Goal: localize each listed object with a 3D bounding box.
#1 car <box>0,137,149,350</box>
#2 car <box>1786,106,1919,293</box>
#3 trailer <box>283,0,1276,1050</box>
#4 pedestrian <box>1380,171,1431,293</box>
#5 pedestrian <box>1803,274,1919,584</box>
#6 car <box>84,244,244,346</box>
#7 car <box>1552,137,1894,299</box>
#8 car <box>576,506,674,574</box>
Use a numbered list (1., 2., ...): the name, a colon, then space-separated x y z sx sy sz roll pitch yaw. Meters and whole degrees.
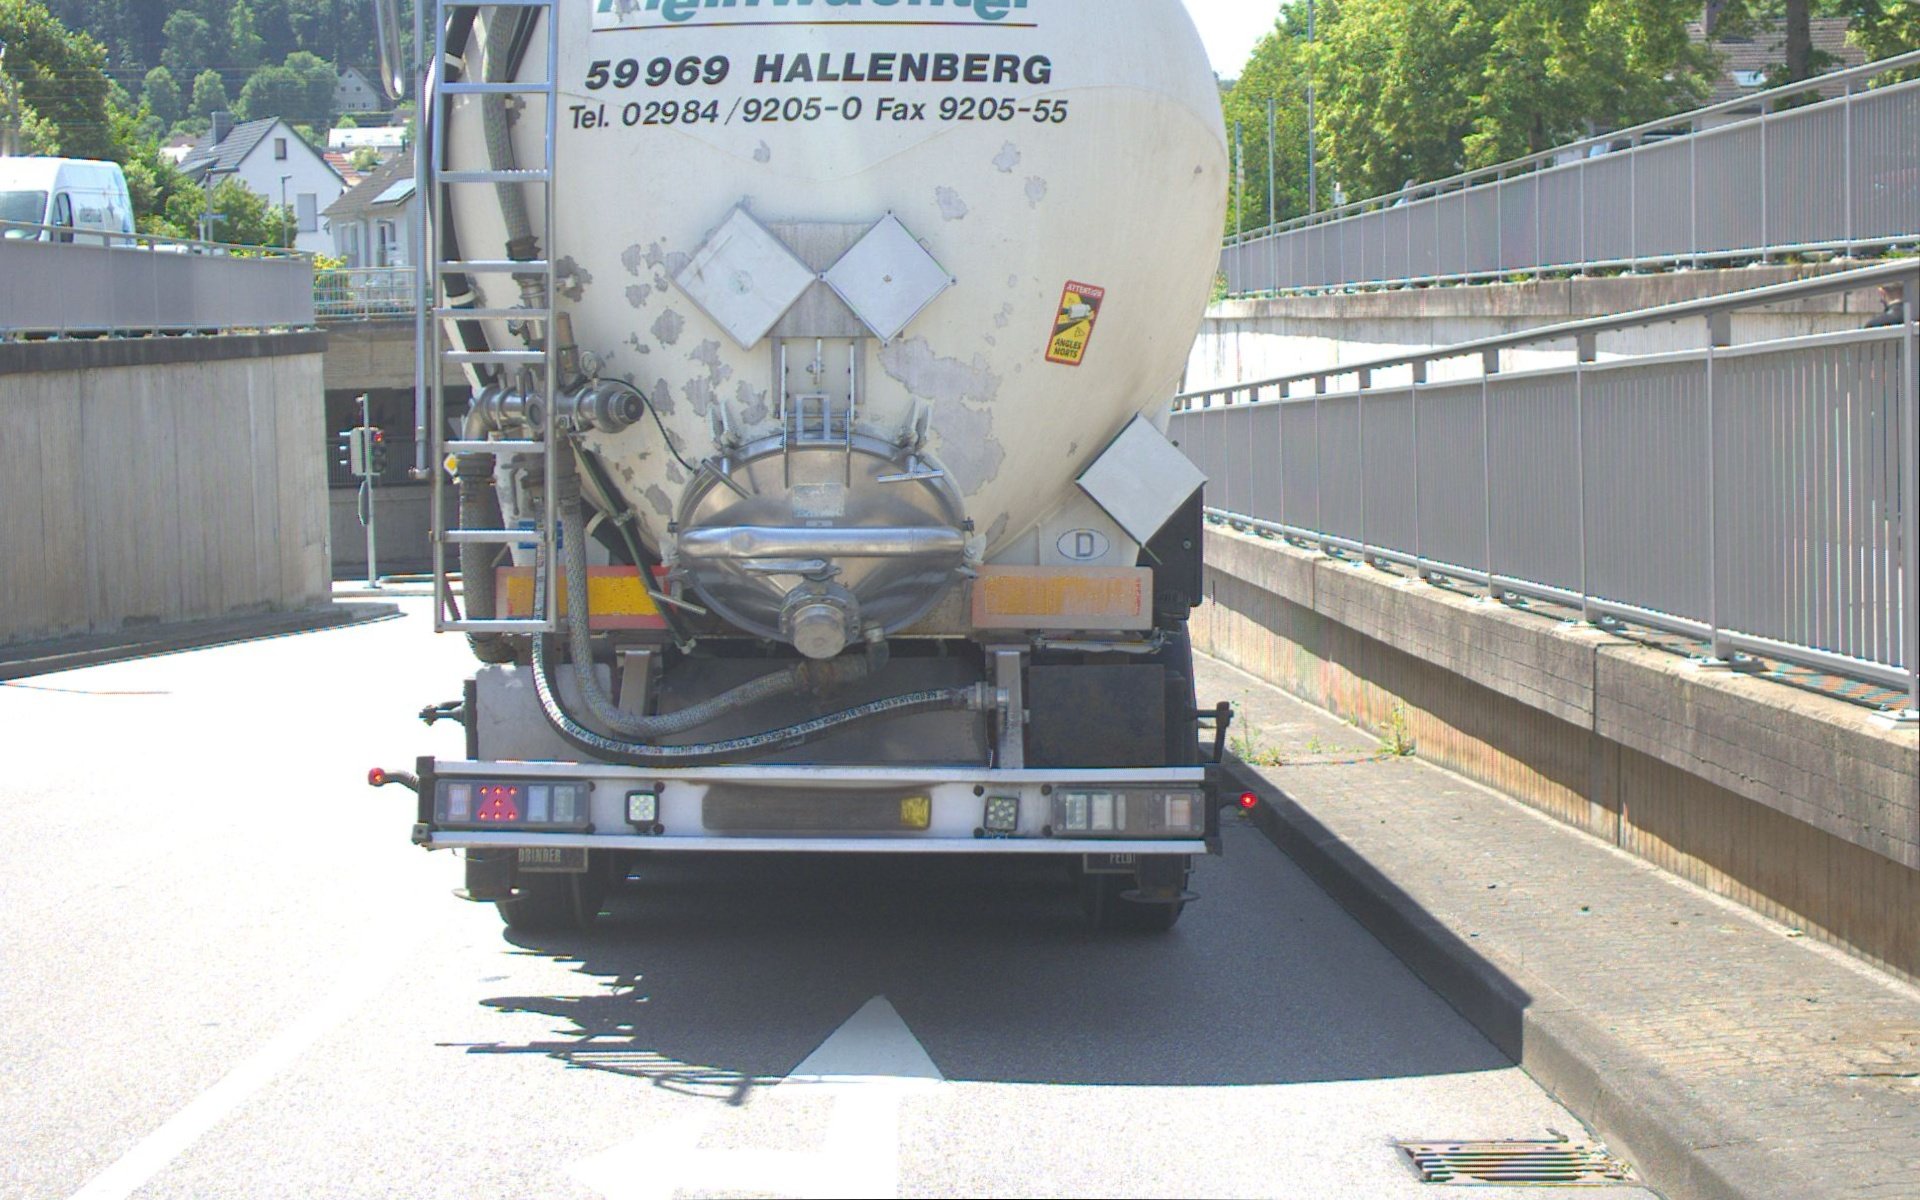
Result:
1. car: -12.044 -4.481 43.803 2.065 2.527 5.663 1 5 0
2. car: 9.736 -3.614 30.920 4.204 1.590 1.686 -1 4 1
3. trailer: -0.463 -0.927 16.131 2.735 4.050 13.313 0 1 0
4. pedestrian: 6.662 -5.495 51.395 0.673 1.773 0.594 -1 4 1
5. pedestrian: 5.483 -1.005 20.206 0.836 1.775 0.788 -1 2 0
6. car: -12.237 -4.690 53.066 1.618 1.495 4.046 0 5 -1
7. car: 9.518 -4.764 43.056 3.905 1.878 1.686 -1 4 1
8. car: -7.482 -1.362 77.150 1.760 1.484 4.369 0 1 0
